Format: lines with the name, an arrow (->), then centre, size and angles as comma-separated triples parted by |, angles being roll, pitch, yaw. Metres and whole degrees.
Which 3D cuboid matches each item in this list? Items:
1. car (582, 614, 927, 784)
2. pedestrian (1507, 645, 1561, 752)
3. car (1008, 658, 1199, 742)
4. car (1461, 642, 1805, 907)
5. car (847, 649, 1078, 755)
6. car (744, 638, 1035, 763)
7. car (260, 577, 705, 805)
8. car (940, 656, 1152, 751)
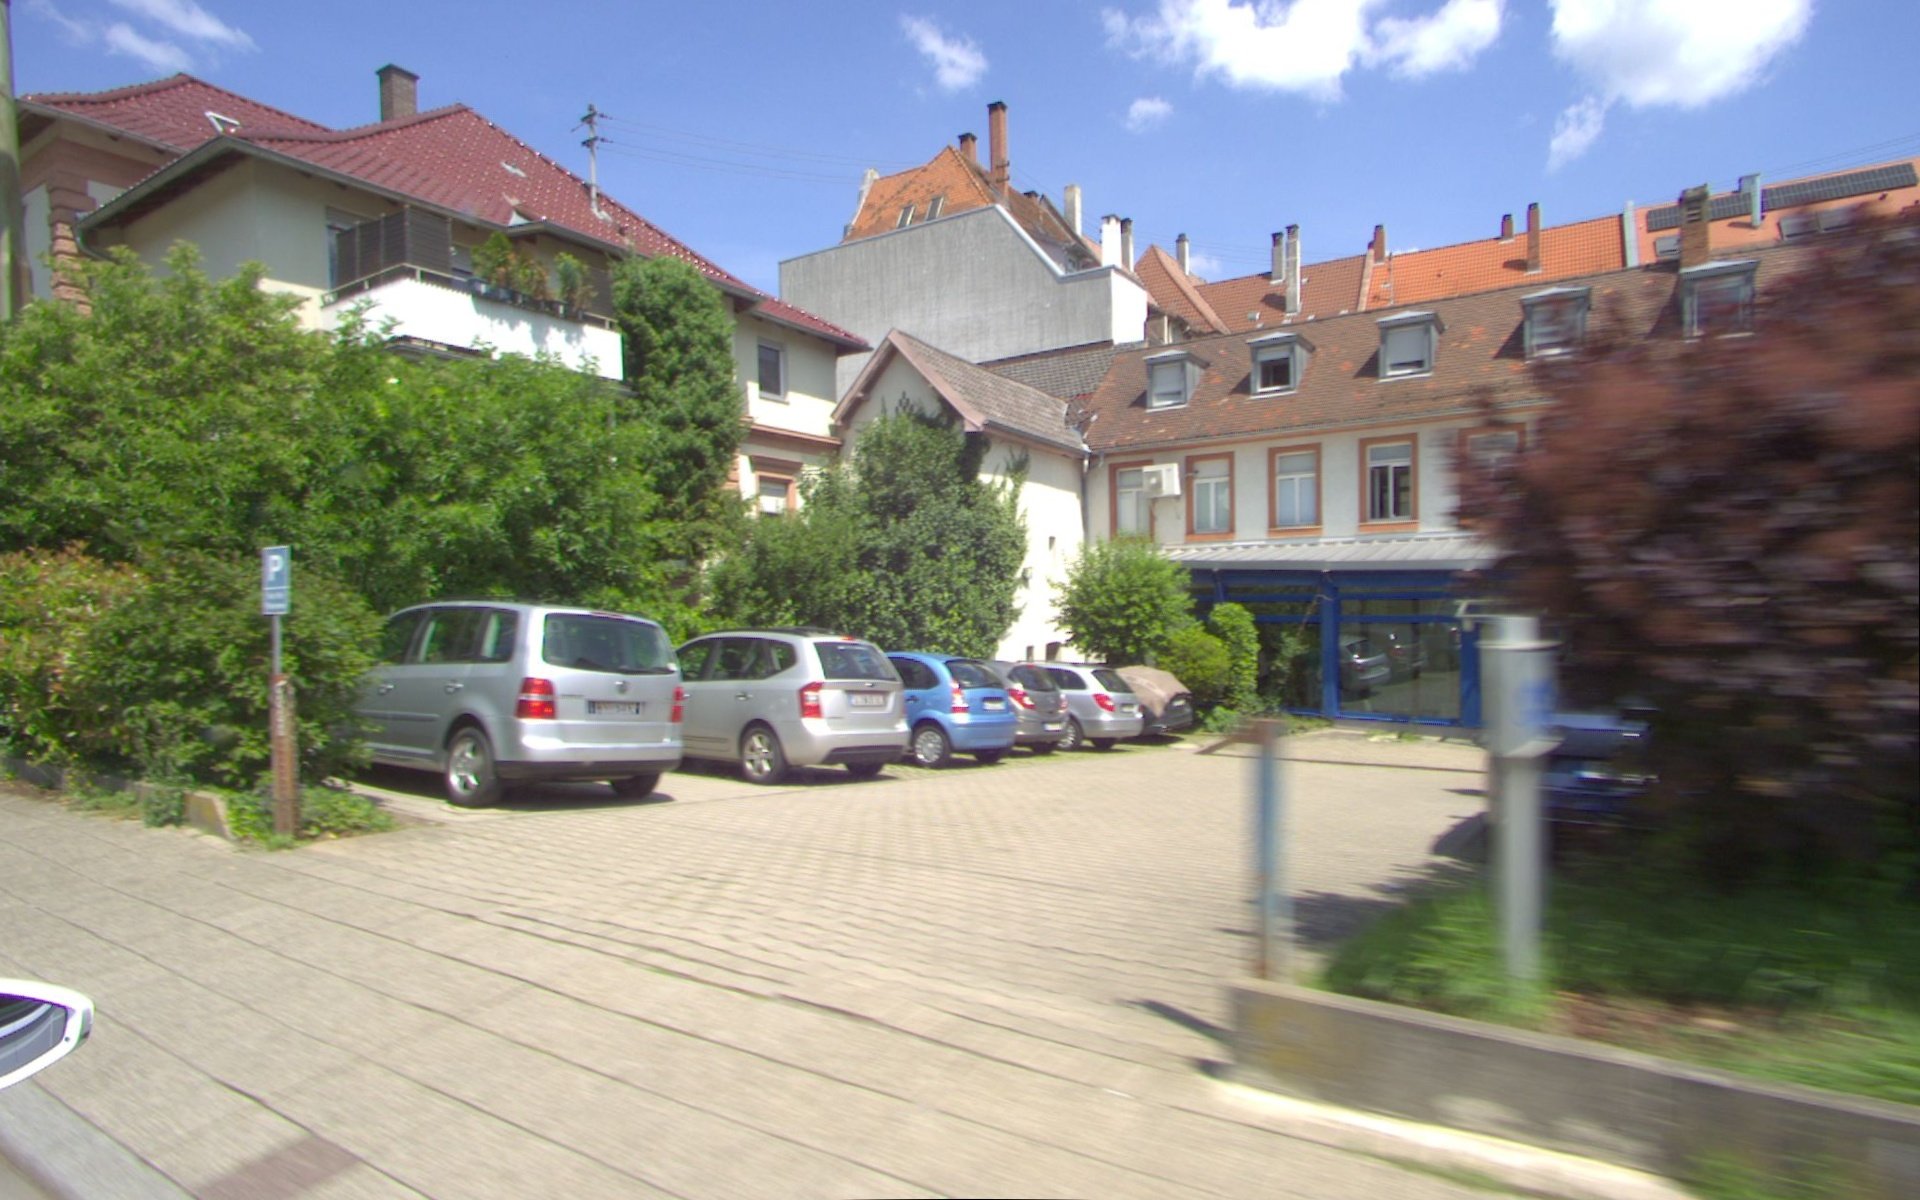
car -> -2.492, 1.147, 11.869 | 3.948, 1.687, 1.758 | -3, -6, 35
pedestrian -> 9.979, 1.694, 17.409 | 0.680, 1.814, 0.590 | -2, -2, 39
car -> 2.874, 2.009, 20.325 | 3.535, 1.556, 1.520 | -3, -6, 35
car -> 5.091, 1.185, 7.710 | 1.699, 1.441, 4.128 | -1, -6, 34
car -> 0.000, 1.647, 16.447 | 3.535, 1.556, 1.581 | -3, -6, 35
car -> -1.064, 1.418, 14.345 | 3.948, 1.556, 1.758 | -3, -6, 35
car -> -4.377, 0.813, 9.054 | 3.944, 1.646, 1.759 | -3, -6, 32
car -> 1.535, 1.854, 18.213 | 3.535, 1.556, 1.581 | -3, -6, 35
